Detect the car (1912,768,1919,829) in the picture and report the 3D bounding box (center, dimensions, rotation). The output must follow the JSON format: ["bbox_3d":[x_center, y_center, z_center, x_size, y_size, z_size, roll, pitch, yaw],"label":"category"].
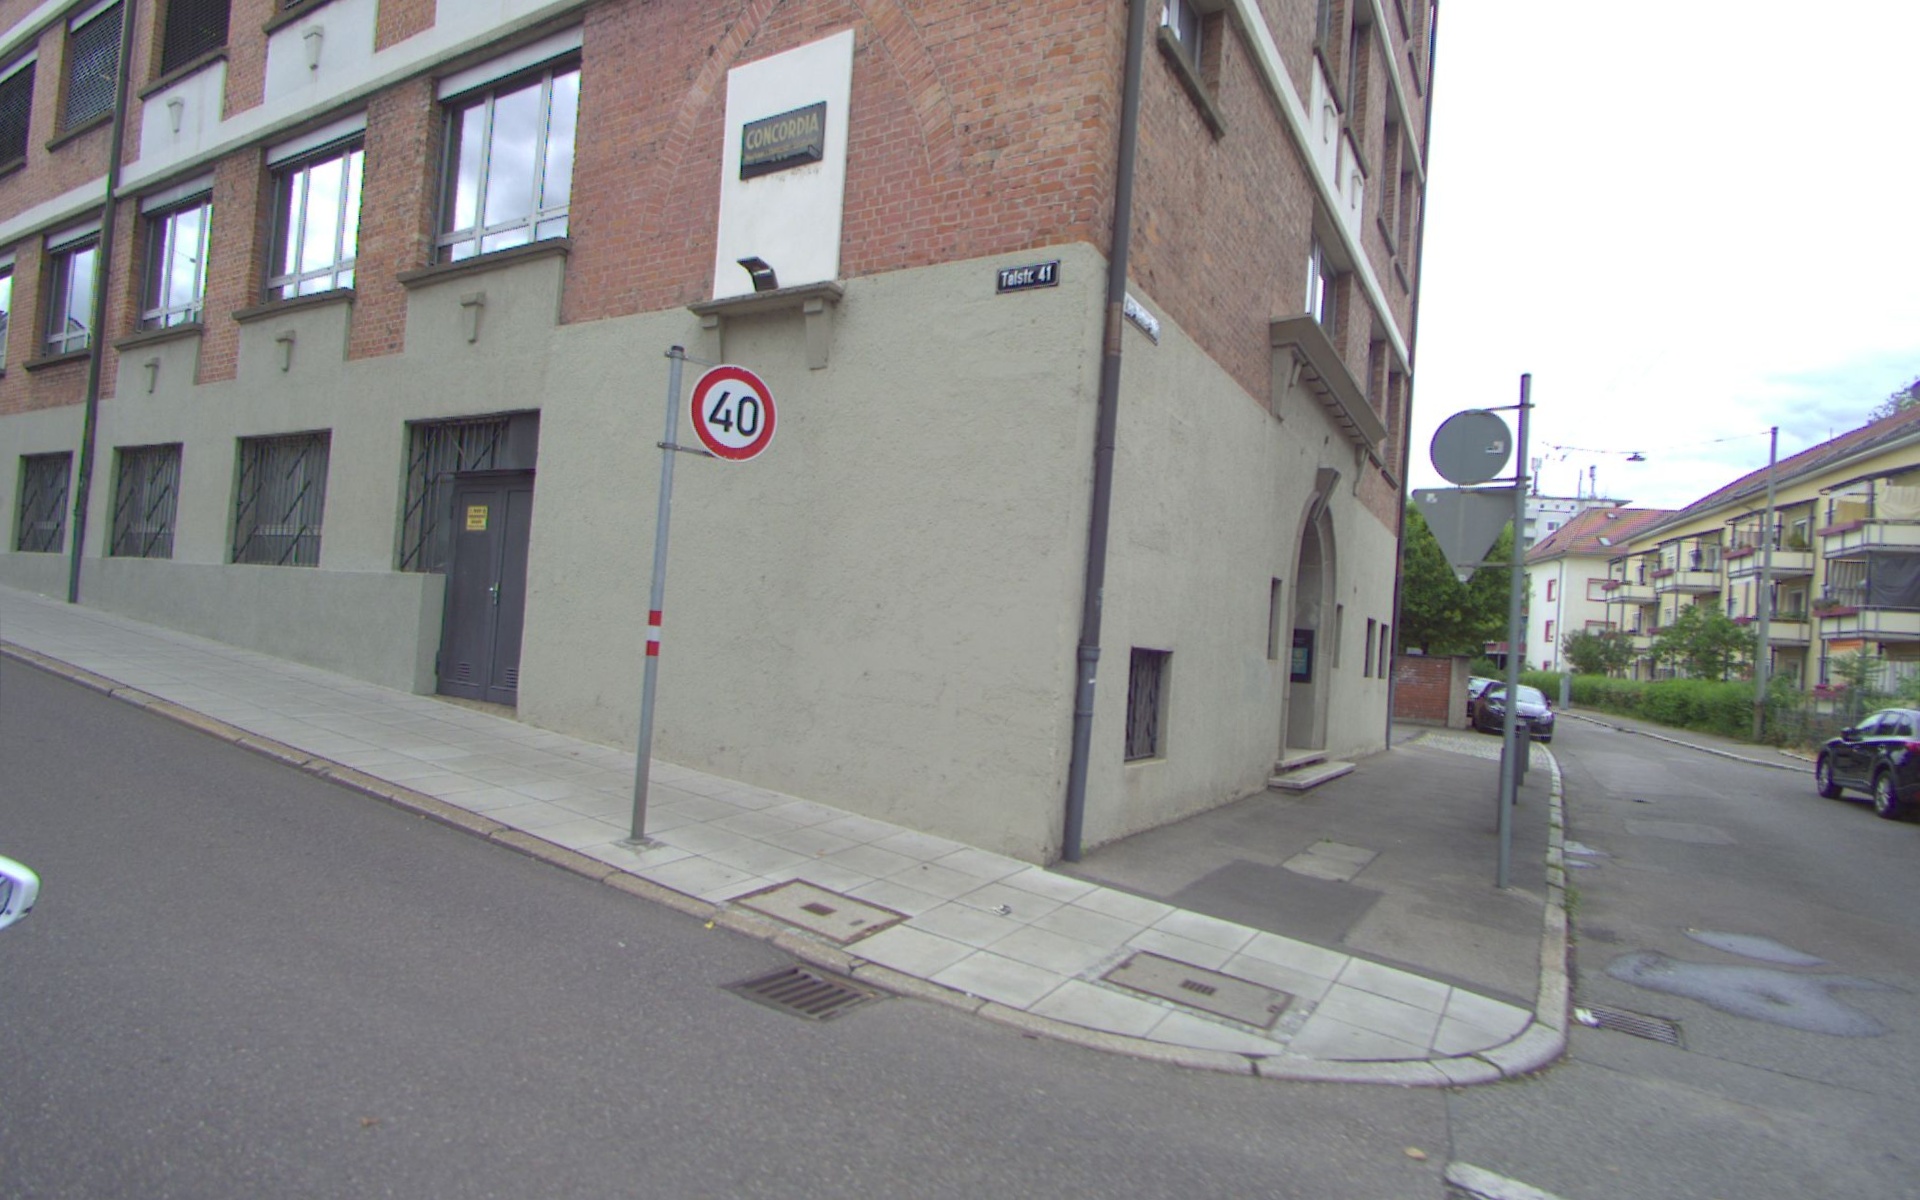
[{"bbox_3d":[12.772,2.313,11.606,1.736,1.483,3.661,7,1,32],"label":"car"}]

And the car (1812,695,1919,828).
[{"bbox_3d":[15.083,2.528,15.730,1.656,1.696,4.113,7,1,28],"label":"car"}]

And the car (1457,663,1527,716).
[{"bbox_3d":[20.066,3.333,38.088,1.732,1.572,4.117,6,1,22],"label":"car"}]

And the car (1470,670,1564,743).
[{"bbox_3d":[15.557,2.924,28.275,1.770,1.572,3.948,6,1,23],"label":"car"}]
